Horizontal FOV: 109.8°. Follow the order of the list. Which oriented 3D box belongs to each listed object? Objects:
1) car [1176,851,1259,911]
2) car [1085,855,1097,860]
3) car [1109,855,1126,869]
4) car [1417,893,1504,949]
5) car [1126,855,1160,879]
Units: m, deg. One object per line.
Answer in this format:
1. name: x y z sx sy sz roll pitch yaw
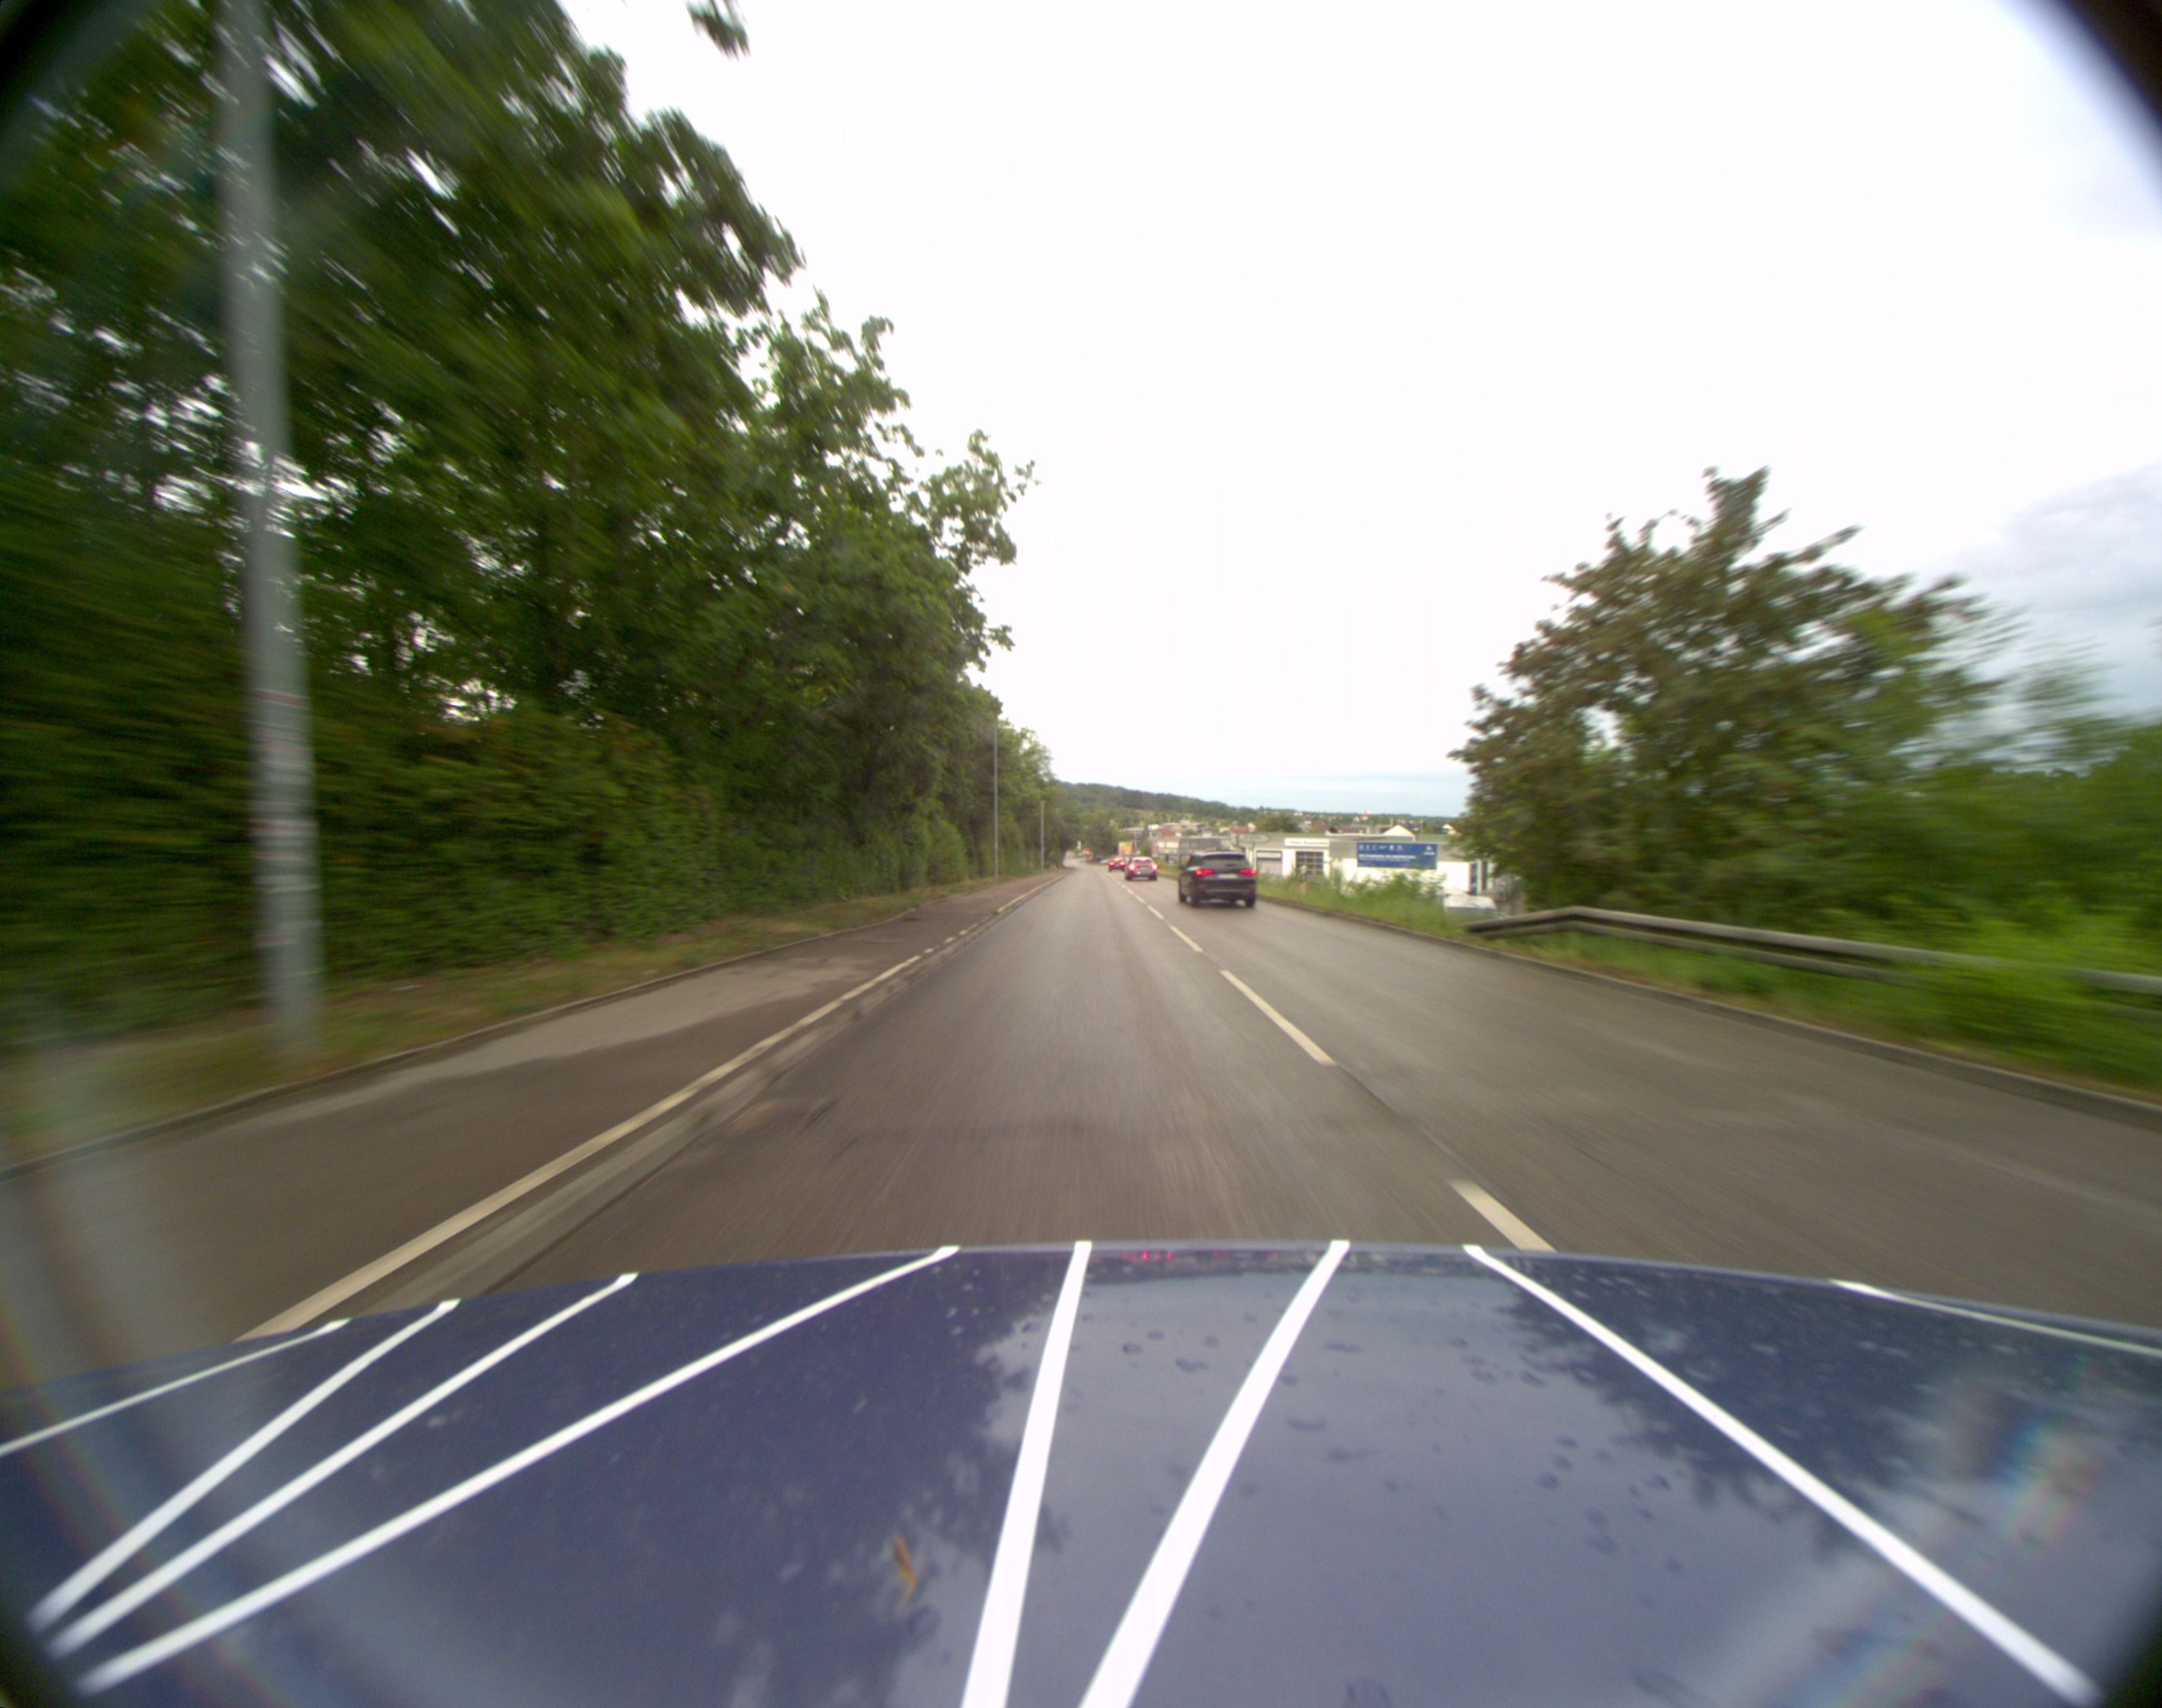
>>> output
1. car: 3.939 0.706 22.474 1.734 1.576 4.080 -1 1 0
2. car: 3.014 1.143 233.045 3.768 1.559 1.671 1 2 -3
3. car: 4.488 0.956 93.168 1.873 1.576 4.414 -2 1 0
4. car: 14.808 2.531 29.951 1.986 1.681 4.934 5 0 15
5. car: 4.028 0.824 50.174 1.866 1.495 4.728 -1 1 0
